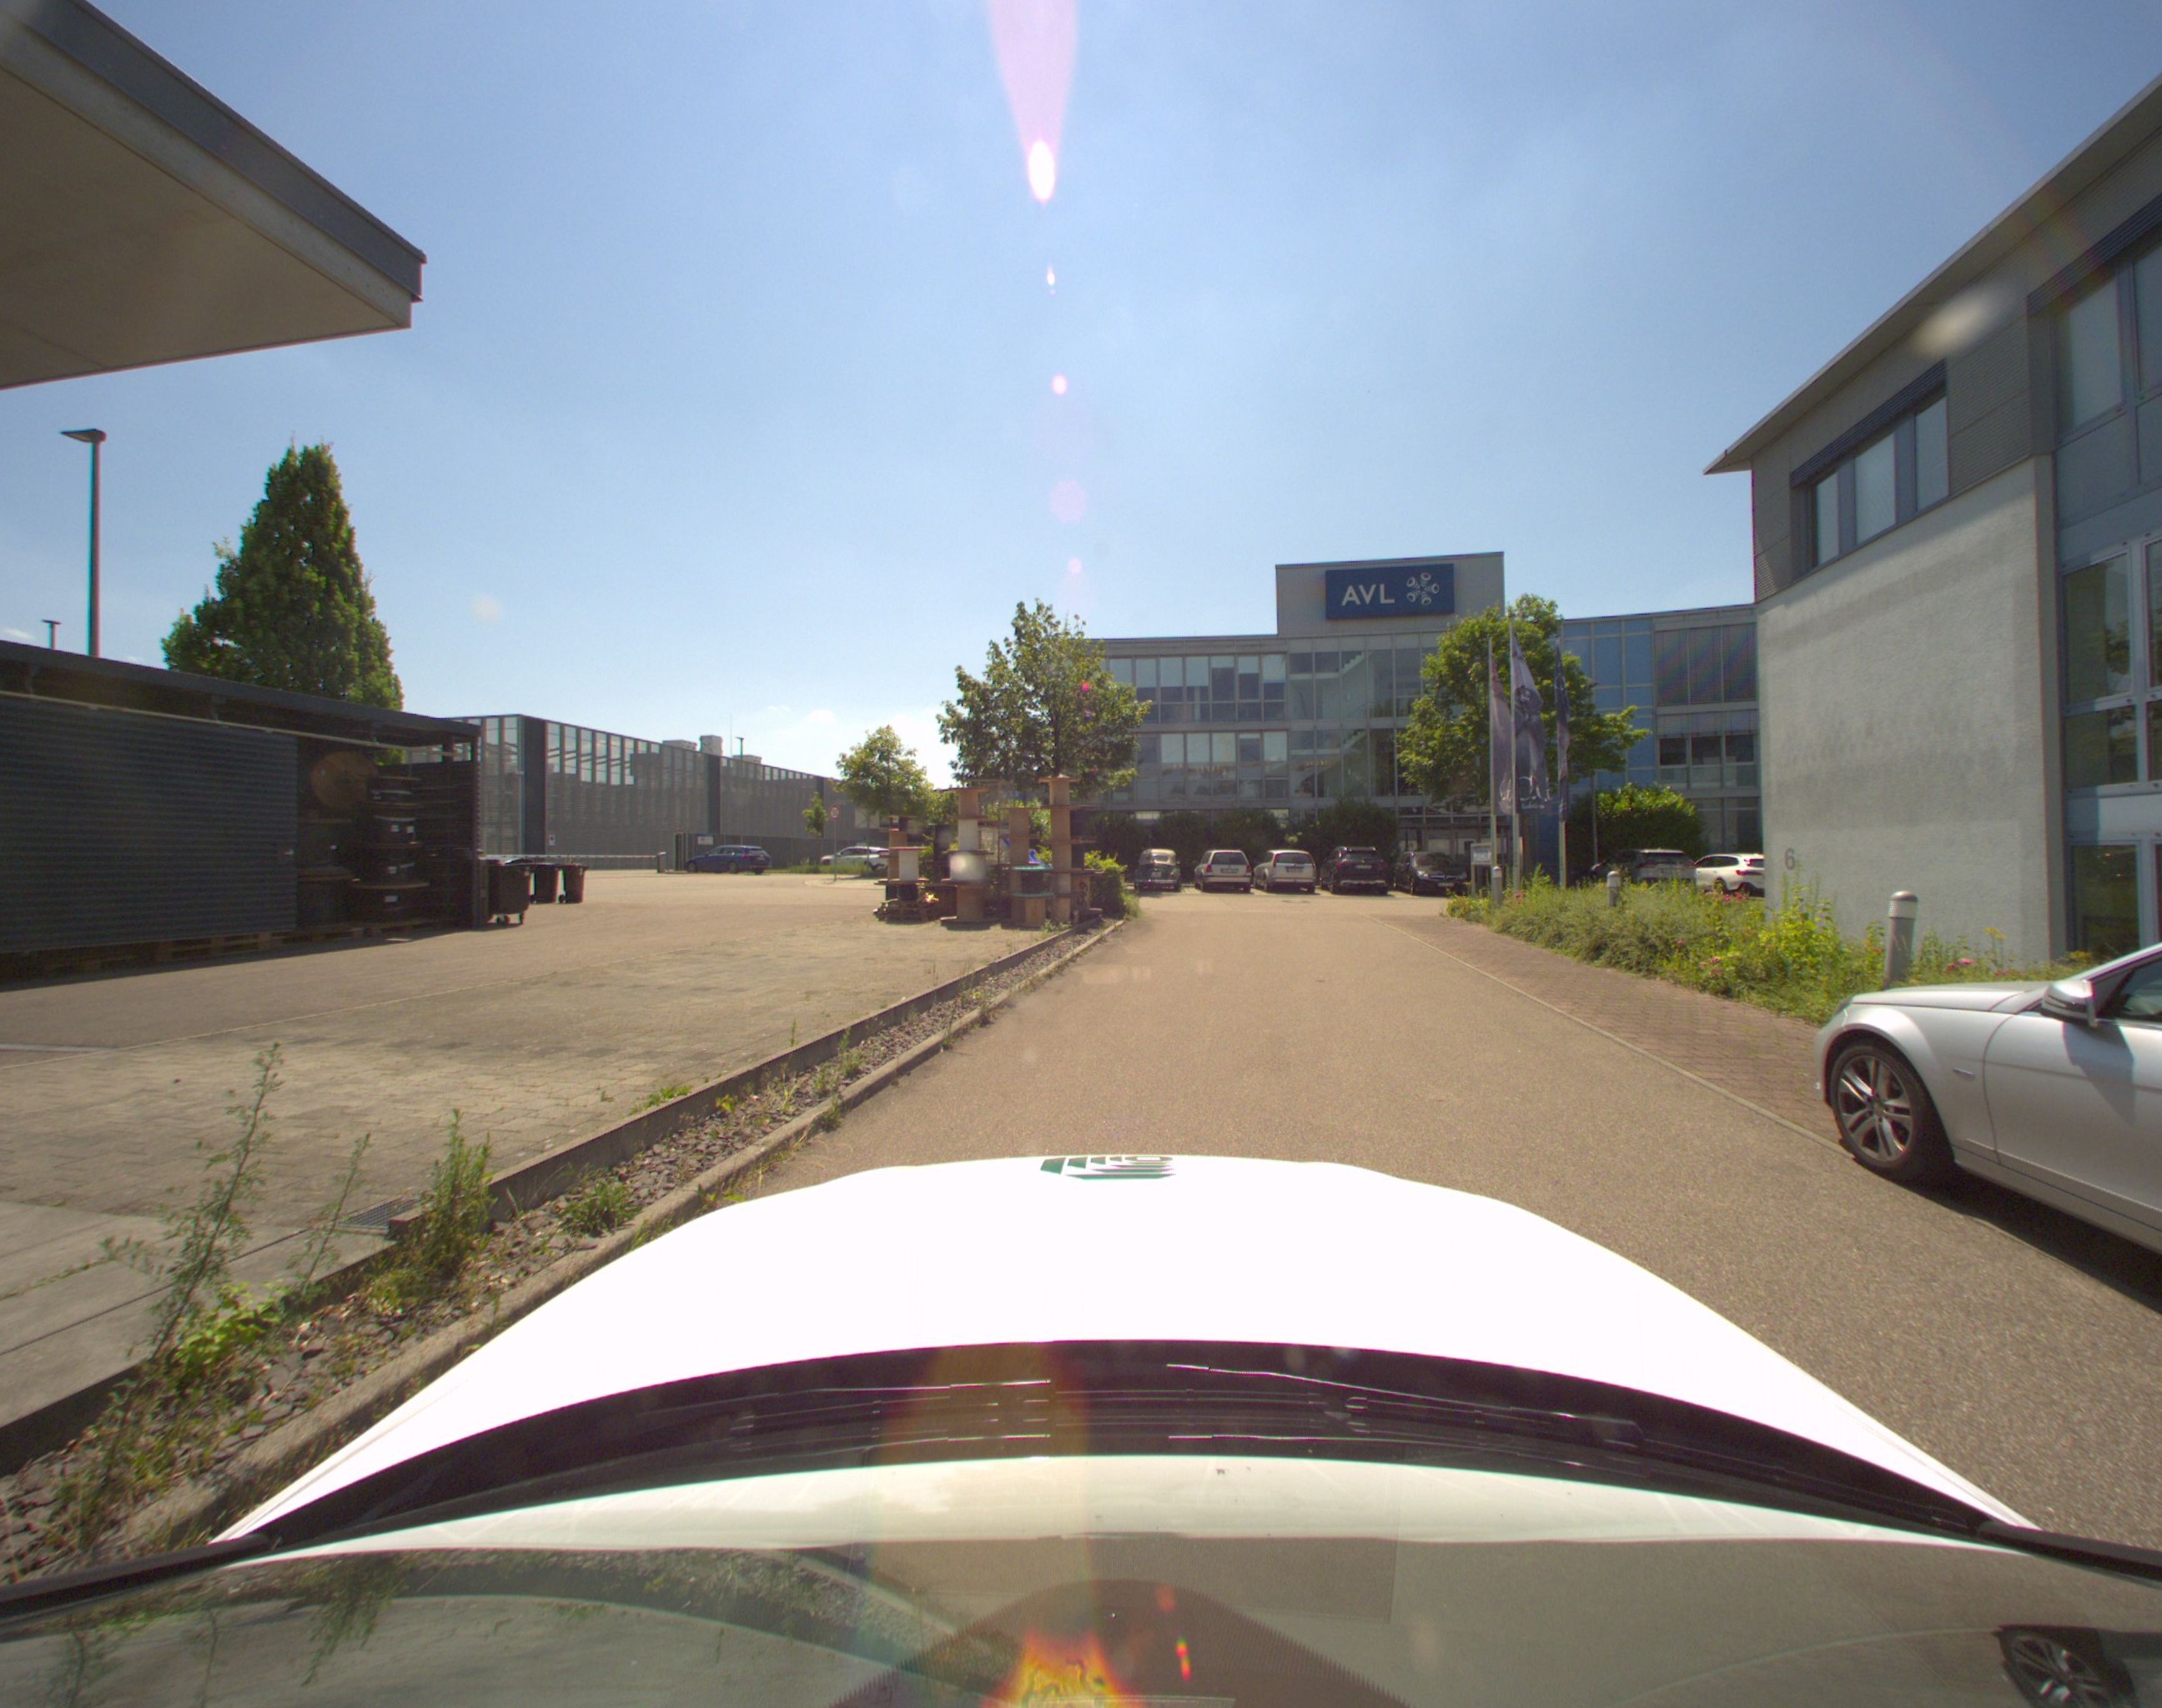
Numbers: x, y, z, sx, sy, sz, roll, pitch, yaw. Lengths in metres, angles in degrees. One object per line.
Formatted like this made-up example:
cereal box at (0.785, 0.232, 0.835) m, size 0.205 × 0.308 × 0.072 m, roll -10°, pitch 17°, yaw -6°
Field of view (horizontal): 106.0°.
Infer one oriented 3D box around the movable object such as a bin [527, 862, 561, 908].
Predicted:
movable object such as a bin at (-12.510, 0.711, 18.979) m, size 0.582 × 1.027 × 0.422 m, roll 0°, pitch 0°, yaw -23°

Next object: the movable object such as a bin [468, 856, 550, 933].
movable object such as a bin at (-10.282, 0.709, 14.670) m, size 0.805 × 1.345 × 0.888 m, roll -1°, pitch 0°, yaw 16°

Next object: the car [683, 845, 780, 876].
car at (-17.734, 0.304, 41.359) m, size 4.460 × 1.491 × 2.011 m, roll 0°, pitch 1°, yaw 24°

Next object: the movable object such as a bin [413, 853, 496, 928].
movable object such as a bin at (-11.537, 0.646, 15.013) m, size 0.702 × 1.330 × 0.977 m, roll -1°, pitch 0°, yaw 16°

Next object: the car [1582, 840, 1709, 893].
car at (18.849, 0.360, 27.442) m, size 1.809 × 1.619 × 4.351 m, roll -1°, pitch 1°, yaw 9°

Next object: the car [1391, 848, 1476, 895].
car at (12.251, 0.561, 28.575) m, size 1.759 × 1.482 × 4.270 m, roll -1°, pitch 1°, yaw 9°

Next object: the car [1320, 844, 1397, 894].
car at (9.730, 0.459, 28.836) m, size 1.916 × 1.610 × 3.997 m, roll 0°, pitch 1°, yaw 9°

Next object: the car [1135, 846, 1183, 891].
car at (2.877, 0.472, 29.394) m, size 1.533 × 1.449 × 3.663 m, roll 0°, pitch 1°, yaw 8°

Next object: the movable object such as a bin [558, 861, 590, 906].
movable object such as a bin at (-11.959, 0.698, 19.212) m, size 0.579 × 1.036 × 0.422 m, roll 0°, pitch 0°, yaw -23°

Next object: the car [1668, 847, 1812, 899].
car at (21.357, 0.560, 26.645) m, size 1.725 × 1.491 × 4.351 m, roll 1°, pitch 1°, yaw 9°

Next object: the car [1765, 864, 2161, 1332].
car at (4.119, 0.750, 2.125) m, size 1.786 × 1.398 × 4.436 m, roll 0°, pitch 0°, yaw 14°

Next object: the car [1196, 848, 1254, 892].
car at (5.097, 0.523, 29.297) m, size 1.723 × 1.449 × 3.659 m, roll 0°, pitch 1°, yaw 5°

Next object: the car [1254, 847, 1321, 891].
car at (7.413, 0.494, 29.563) m, size 1.757 × 1.449 × 3.659 m, roll 0°, pitch 1°, yaw 5°

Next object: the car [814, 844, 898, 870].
car at (-13.961, 0.153, 50.496) m, size 4.795 × 1.491 × 2.011 m, roll 0°, pitch 1°, yaw 24°
